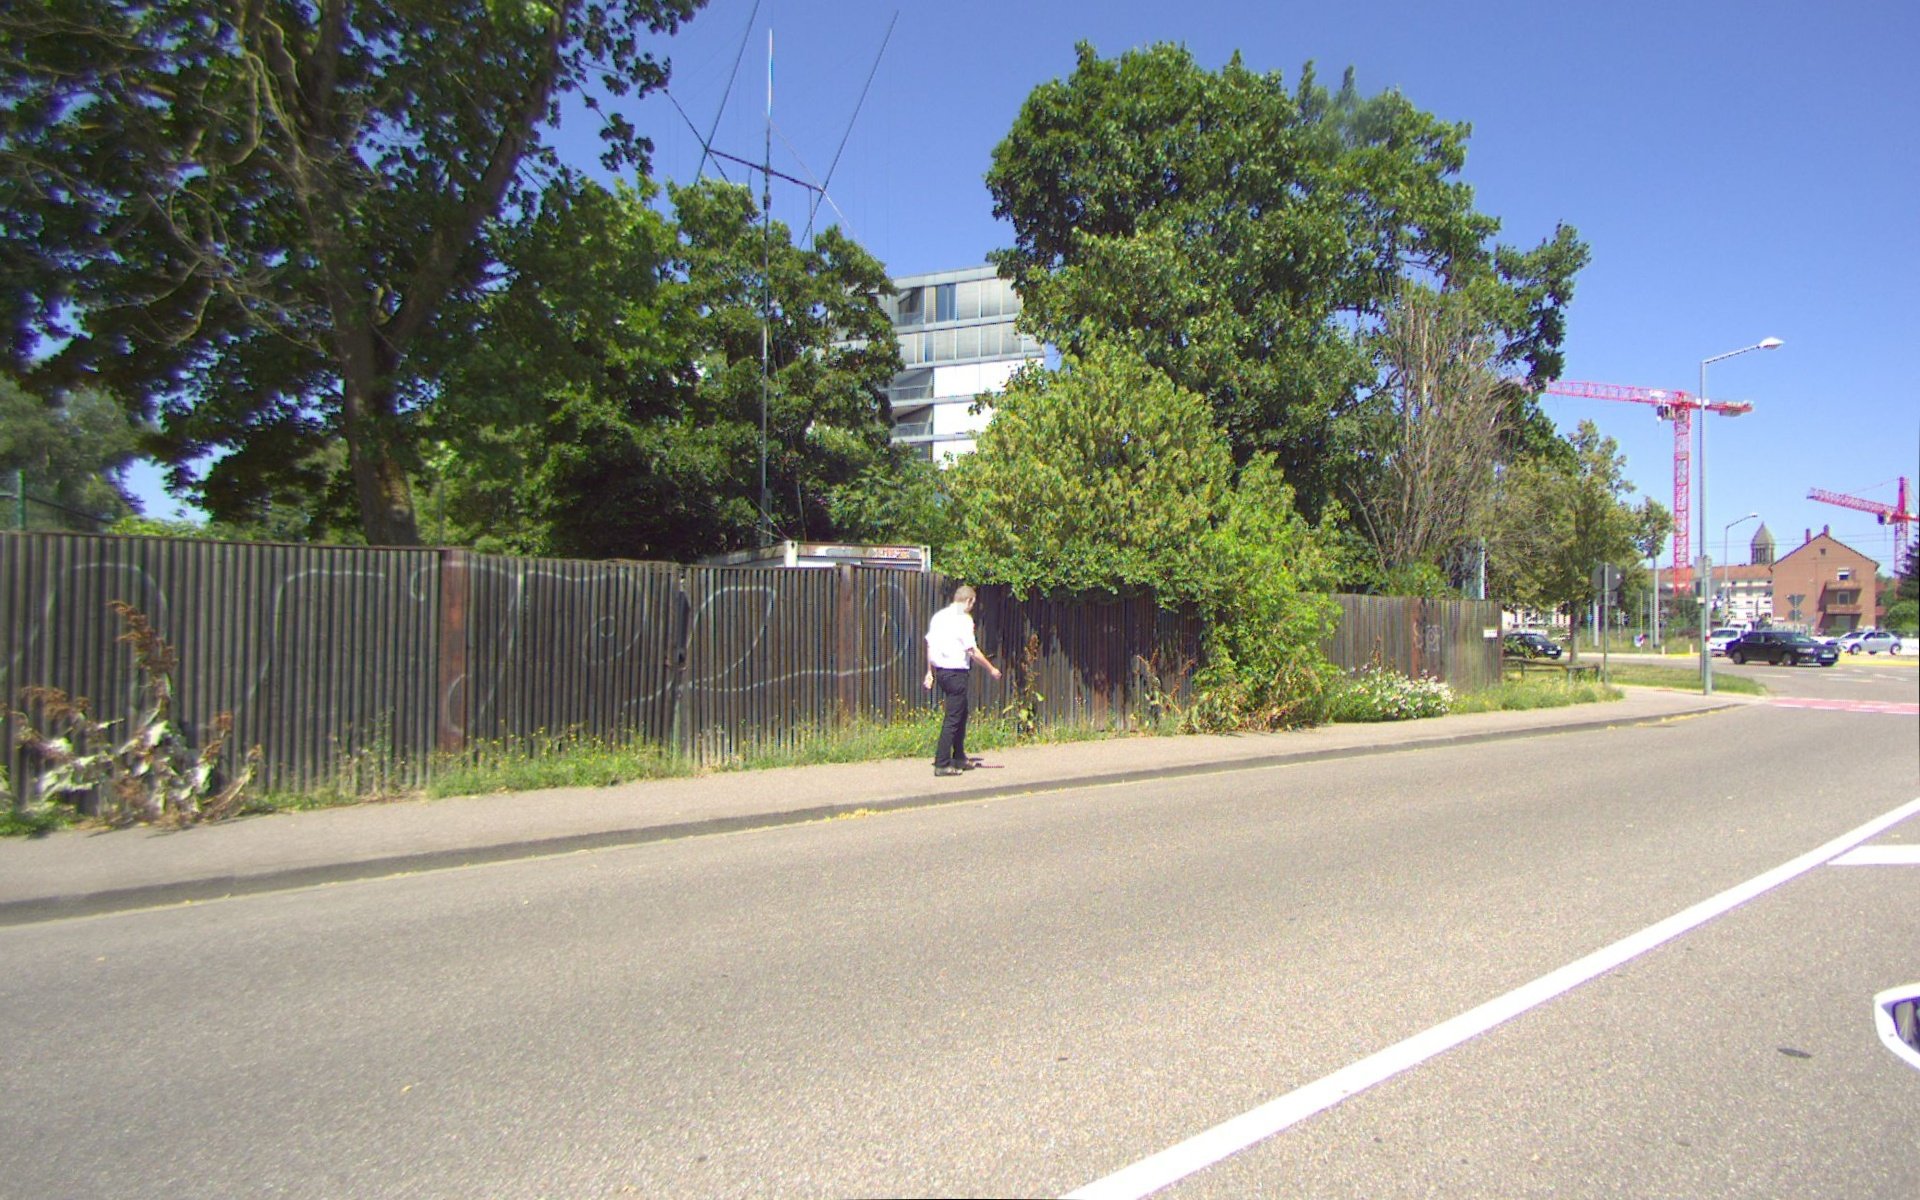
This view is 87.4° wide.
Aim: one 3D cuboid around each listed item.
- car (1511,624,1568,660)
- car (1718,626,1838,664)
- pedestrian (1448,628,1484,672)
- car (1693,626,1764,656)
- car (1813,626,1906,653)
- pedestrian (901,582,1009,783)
[{"bbox_3d":[32.263,2.303,56.059,1.960,1.840,4.001,1,-1,18],"label":"car"},{"bbox_3d":[34.984,1.896,43.121,1.786,1.466,4.535,1,-1,5],"label":"car"},{"bbox_3d":[18.610,1.837,36.953,0.796,1.584,0.876,1,0,-7],"label":"pedestrian"},{"bbox_3d":[42.237,2.229,55.214,3.953,1.570,1.748,2,-1,-30],"label":"car"},{"bbox_3d":[55.598,2.448,62.135,4.136,1.520,1.713,1,-1,3],"label":"car"},{"bbox_3d":[-0.049,0.772,9.754,0.841,1.849,0.589,1,0,-30],"label":"pedestrian"}]
